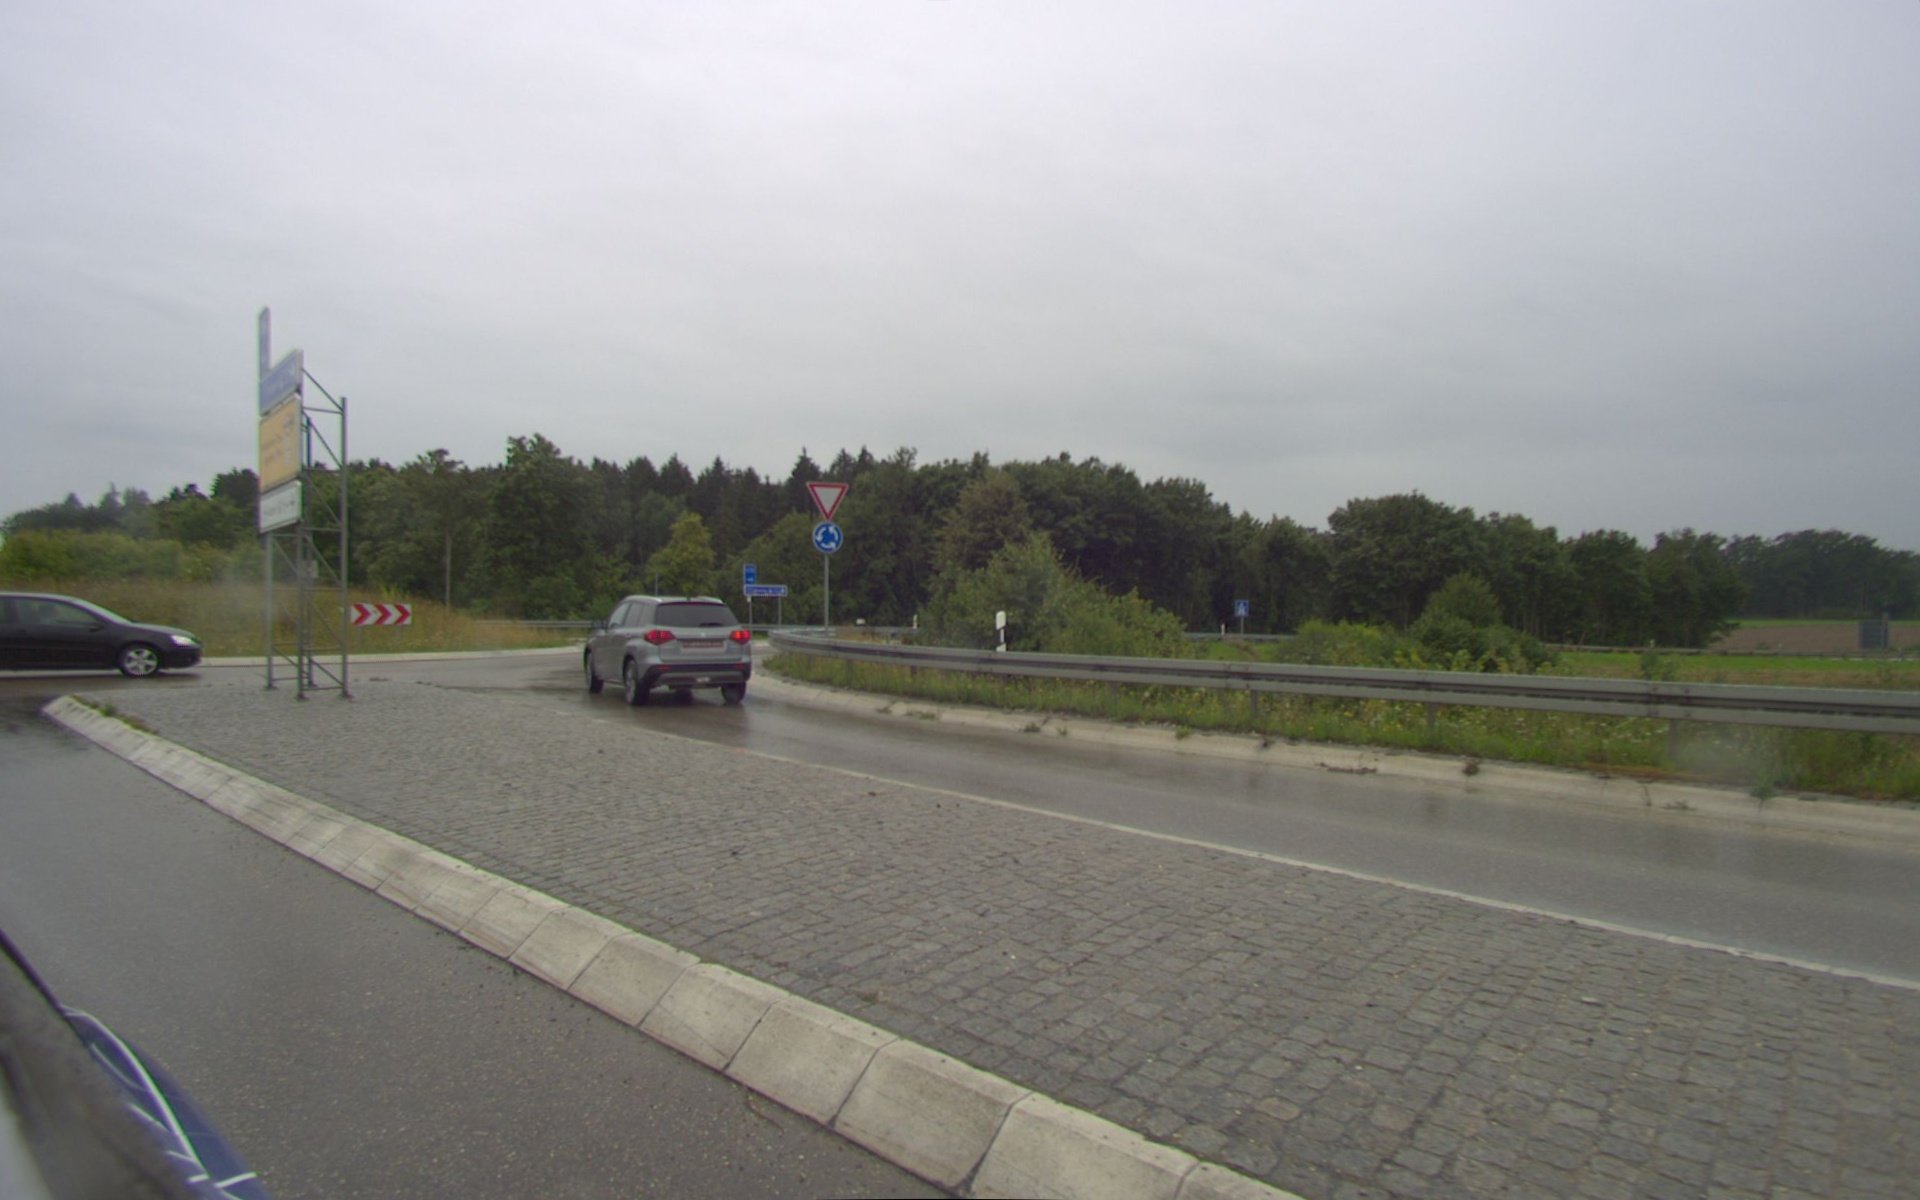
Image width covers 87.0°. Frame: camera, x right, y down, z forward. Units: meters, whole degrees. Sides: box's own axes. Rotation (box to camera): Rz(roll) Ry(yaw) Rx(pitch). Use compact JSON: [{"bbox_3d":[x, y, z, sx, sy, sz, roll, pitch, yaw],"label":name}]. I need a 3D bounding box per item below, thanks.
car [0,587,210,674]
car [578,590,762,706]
[{"bbox_3d":[-15.951,0.525,17.649,4.427,1.432,1.880,0,-2,-31],"label":"car"},{"bbox_3d":[-4.701,0.657,16.028,1.776,1.587,4.012,1,0,-32],"label":"car"}]
